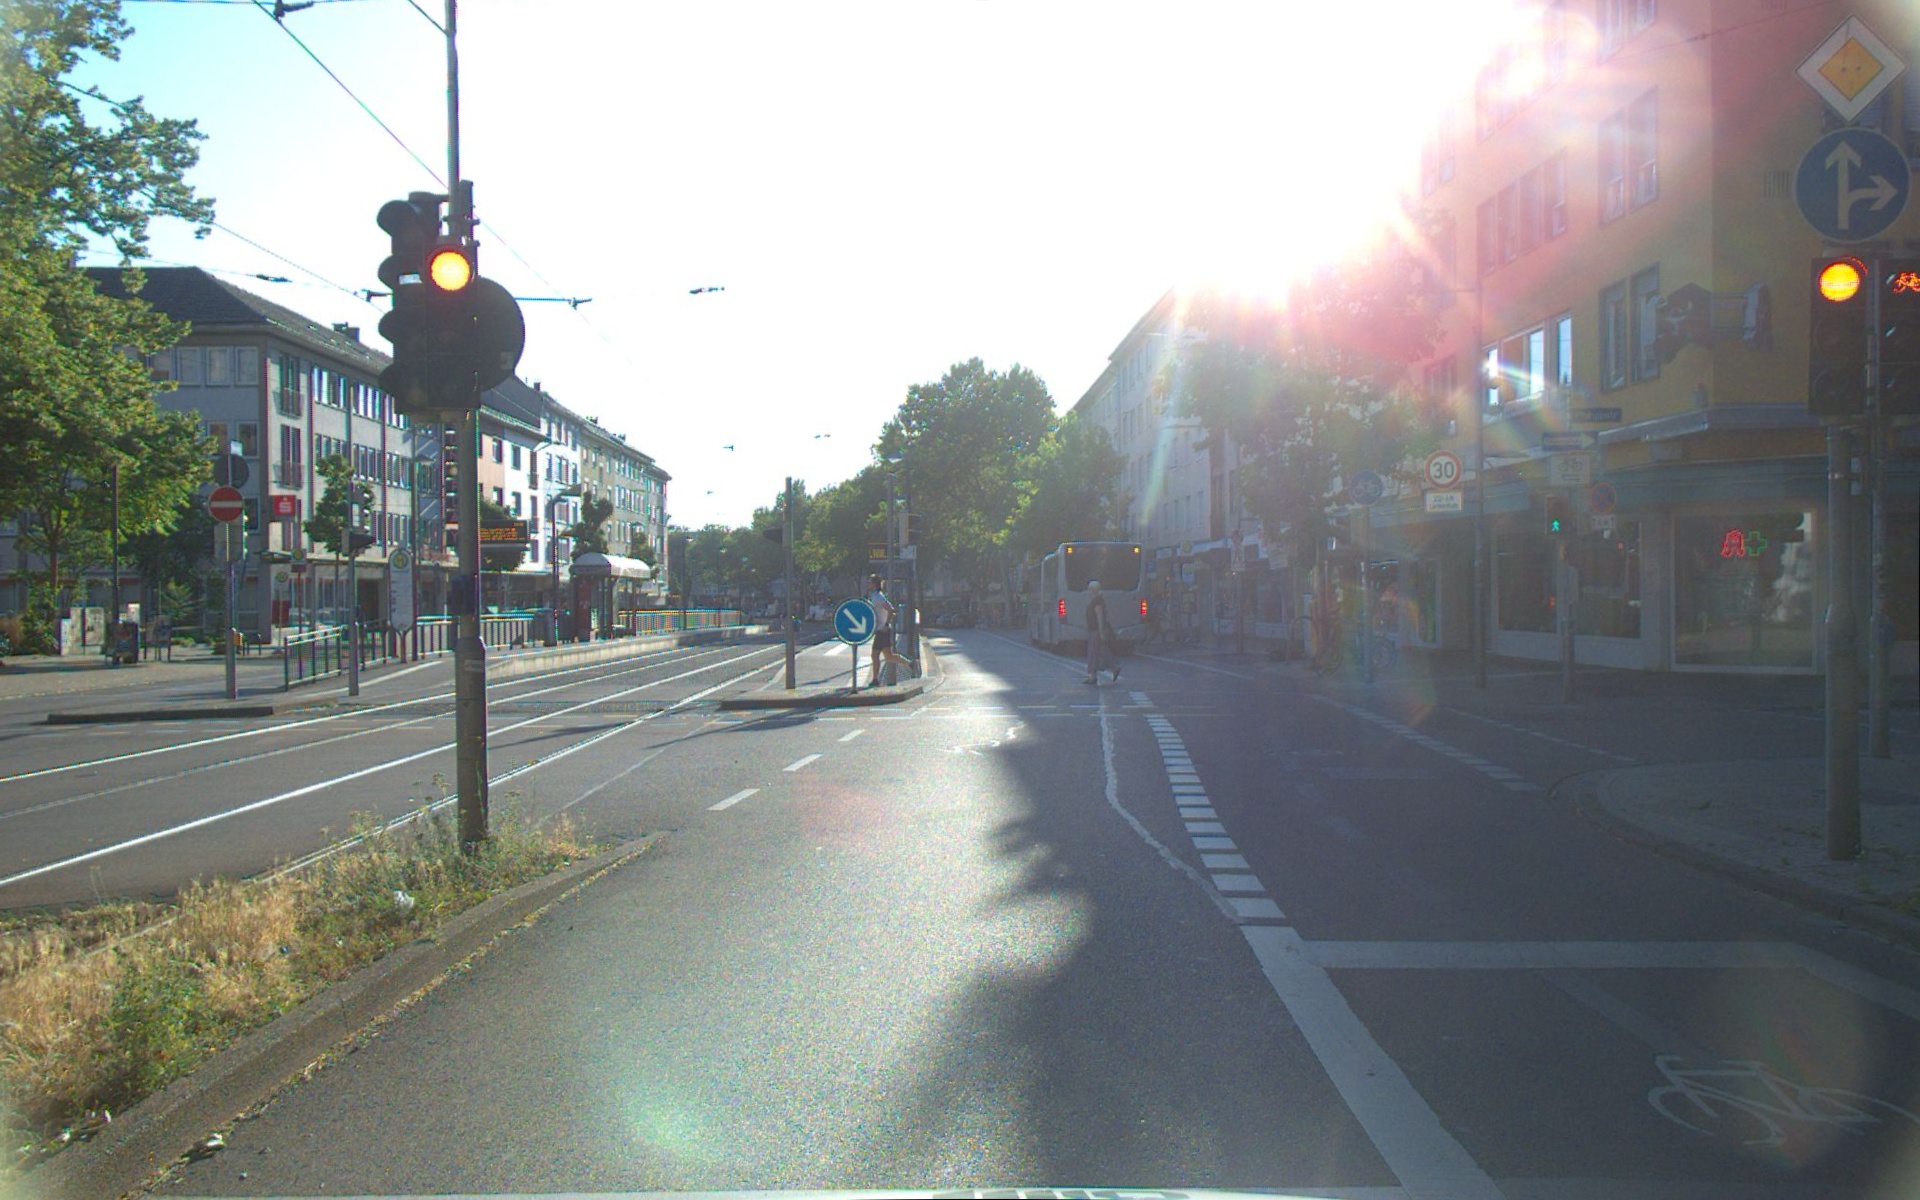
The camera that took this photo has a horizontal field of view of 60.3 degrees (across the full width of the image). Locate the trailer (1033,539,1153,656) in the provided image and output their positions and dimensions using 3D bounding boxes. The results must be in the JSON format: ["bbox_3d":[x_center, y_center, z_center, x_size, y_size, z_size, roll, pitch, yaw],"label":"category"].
[{"bbox_3d":[3.872,-0.057,50.038,2.755,3.165,8.792,1,0,-1],"label":"trailer"}]

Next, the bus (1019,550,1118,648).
[{"bbox_3d":[3.742,-0.030,58.978,2.755,3.156,9.092,1,0,-1],"label":"bus"}]

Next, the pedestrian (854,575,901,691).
[{"bbox_3d":[-1.316,0.511,26.224,0.667,1.801,0.686,-1,0,-7],"label":"pedestrian"}]

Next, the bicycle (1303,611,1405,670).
[{"bbox_3d":[7.471,0.760,31.414,1.737,1.039,0.694,-2,0,-2],"label":"bicycle"}]

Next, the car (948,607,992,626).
[{"bbox_3d":[0.998,1.540,158.511,3.848,1.729,1.815,-1,0,-30],"label":"car"}]

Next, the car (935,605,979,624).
[{"bbox_3d":[-0.294,1.406,161.208,3.848,1.729,1.815,-1,0,-30],"label":"car"}]

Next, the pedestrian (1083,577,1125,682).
[{"bbox_3d":[2.493,0.508,28.636,0.666,1.801,0.687,0,0,0],"label":"pedestrian"}]

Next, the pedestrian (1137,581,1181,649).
[{"bbox_3d":[6.077,0.452,50.488,0.948,2.049,0.903,2,-1,-42],"label":"pedestrian"}]

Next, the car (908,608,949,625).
[{"bbox_3d":[-3.155,1.634,166.615,3.848,1.624,1.674,-1,0,-30],"label":"car"}]
